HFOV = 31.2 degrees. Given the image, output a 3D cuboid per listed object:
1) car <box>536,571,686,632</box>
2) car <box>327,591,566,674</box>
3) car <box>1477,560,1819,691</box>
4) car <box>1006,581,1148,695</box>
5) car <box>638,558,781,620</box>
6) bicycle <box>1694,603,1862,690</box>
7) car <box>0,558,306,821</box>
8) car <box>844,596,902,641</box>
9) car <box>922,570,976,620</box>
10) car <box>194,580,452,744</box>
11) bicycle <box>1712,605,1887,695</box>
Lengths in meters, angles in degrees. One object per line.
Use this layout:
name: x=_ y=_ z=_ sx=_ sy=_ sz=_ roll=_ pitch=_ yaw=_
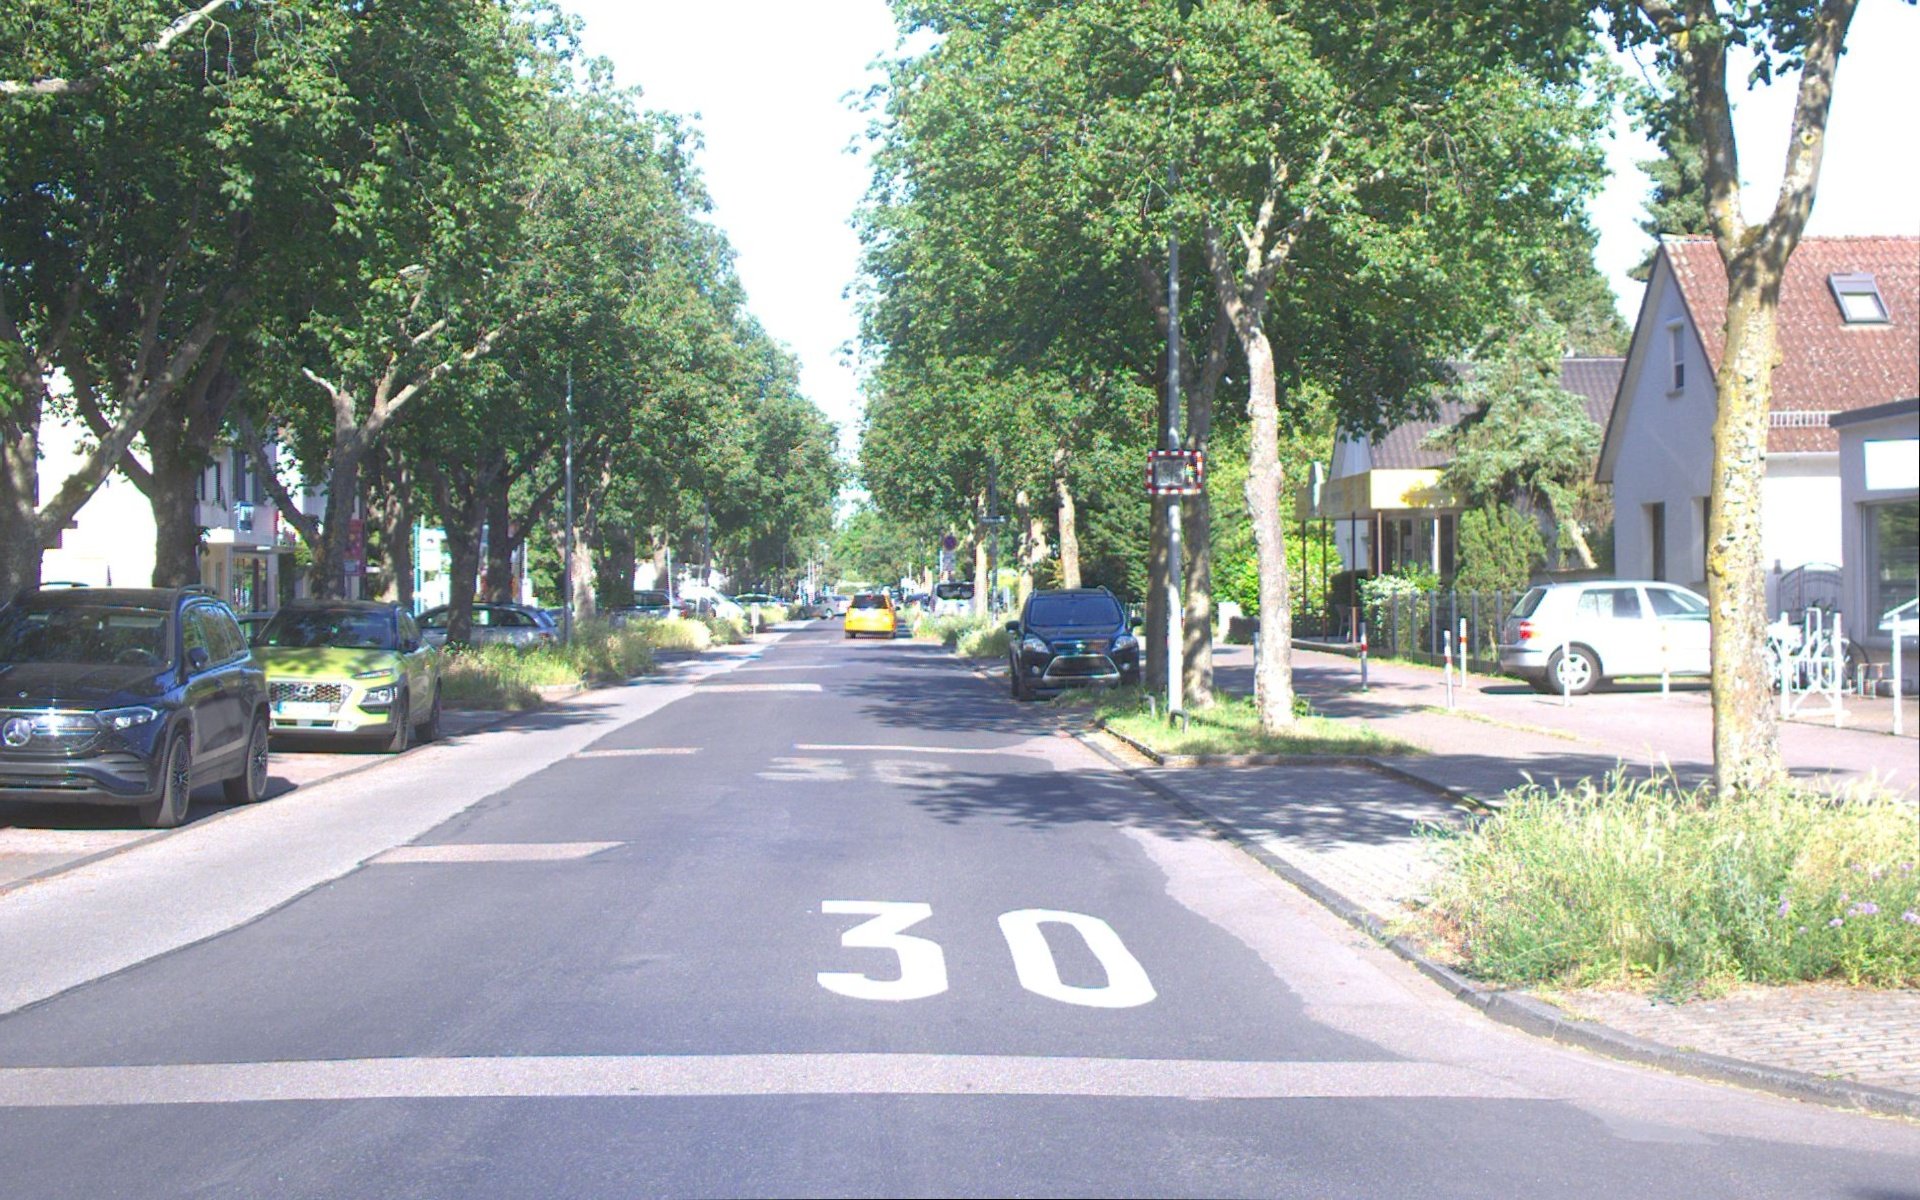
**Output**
car: x=-10.830 y=0.046 z=106.630 sx=4.545 sy=1.759 sz=2.001 roll=1 pitch=2 yaw=-6
car: x=-10.299 y=0.641 z=69.180 sx=4.554 sy=1.506 sz=1.841 roll=1 pitch=2 yaw=-1
car: x=8.917 y=0.317 z=44.790 sx=3.986 sy=1.483 sz=1.902 roll=-2 pitch=2 yaw=-2
car: x=1.748 y=0.573 z=52.889 sx=1.853 sy=1.620 sz=4.470 roll=-2 pitch=0 yaw=-2
car: x=-9.795 y=-0.451 z=134.727 sx=5.497 sy=2.240 sz=2.517 roll=1 pitch=2 yaw=-3
bicycle: x=10.160 y=0.569 z=42.702 sx=1.923 sy=0.995 sz=0.576 roll=-2 pitch=2 yaw=-3
car: x=-6.226 y=0.609 z=25.173 sx=1.953 sy=1.721 sz=4.875 roll=1 pitch=-1 yaw=0
car: x=-3.016 y=0.627 z=120.006 sx=1.888 sy=1.474 sz=3.888 roll=2 pitch=0 yaw=0
car: x=-0.414 y=-0.180 z=125.823 sx=1.902 sy=1.768 sz=4.301 roll=1 pitch=0 yaw=-1
car: x=-6.713 y=0.645 z=36.685 sx=1.939 sy=1.603 sz=4.383 roll=1 pitch=-1 yaw=0
bicycle: x=10.181 y=0.602 z=41.715 sx=1.957 sy=0.995 sz=0.576 roll=-2 pitch=2 yaw=-3
